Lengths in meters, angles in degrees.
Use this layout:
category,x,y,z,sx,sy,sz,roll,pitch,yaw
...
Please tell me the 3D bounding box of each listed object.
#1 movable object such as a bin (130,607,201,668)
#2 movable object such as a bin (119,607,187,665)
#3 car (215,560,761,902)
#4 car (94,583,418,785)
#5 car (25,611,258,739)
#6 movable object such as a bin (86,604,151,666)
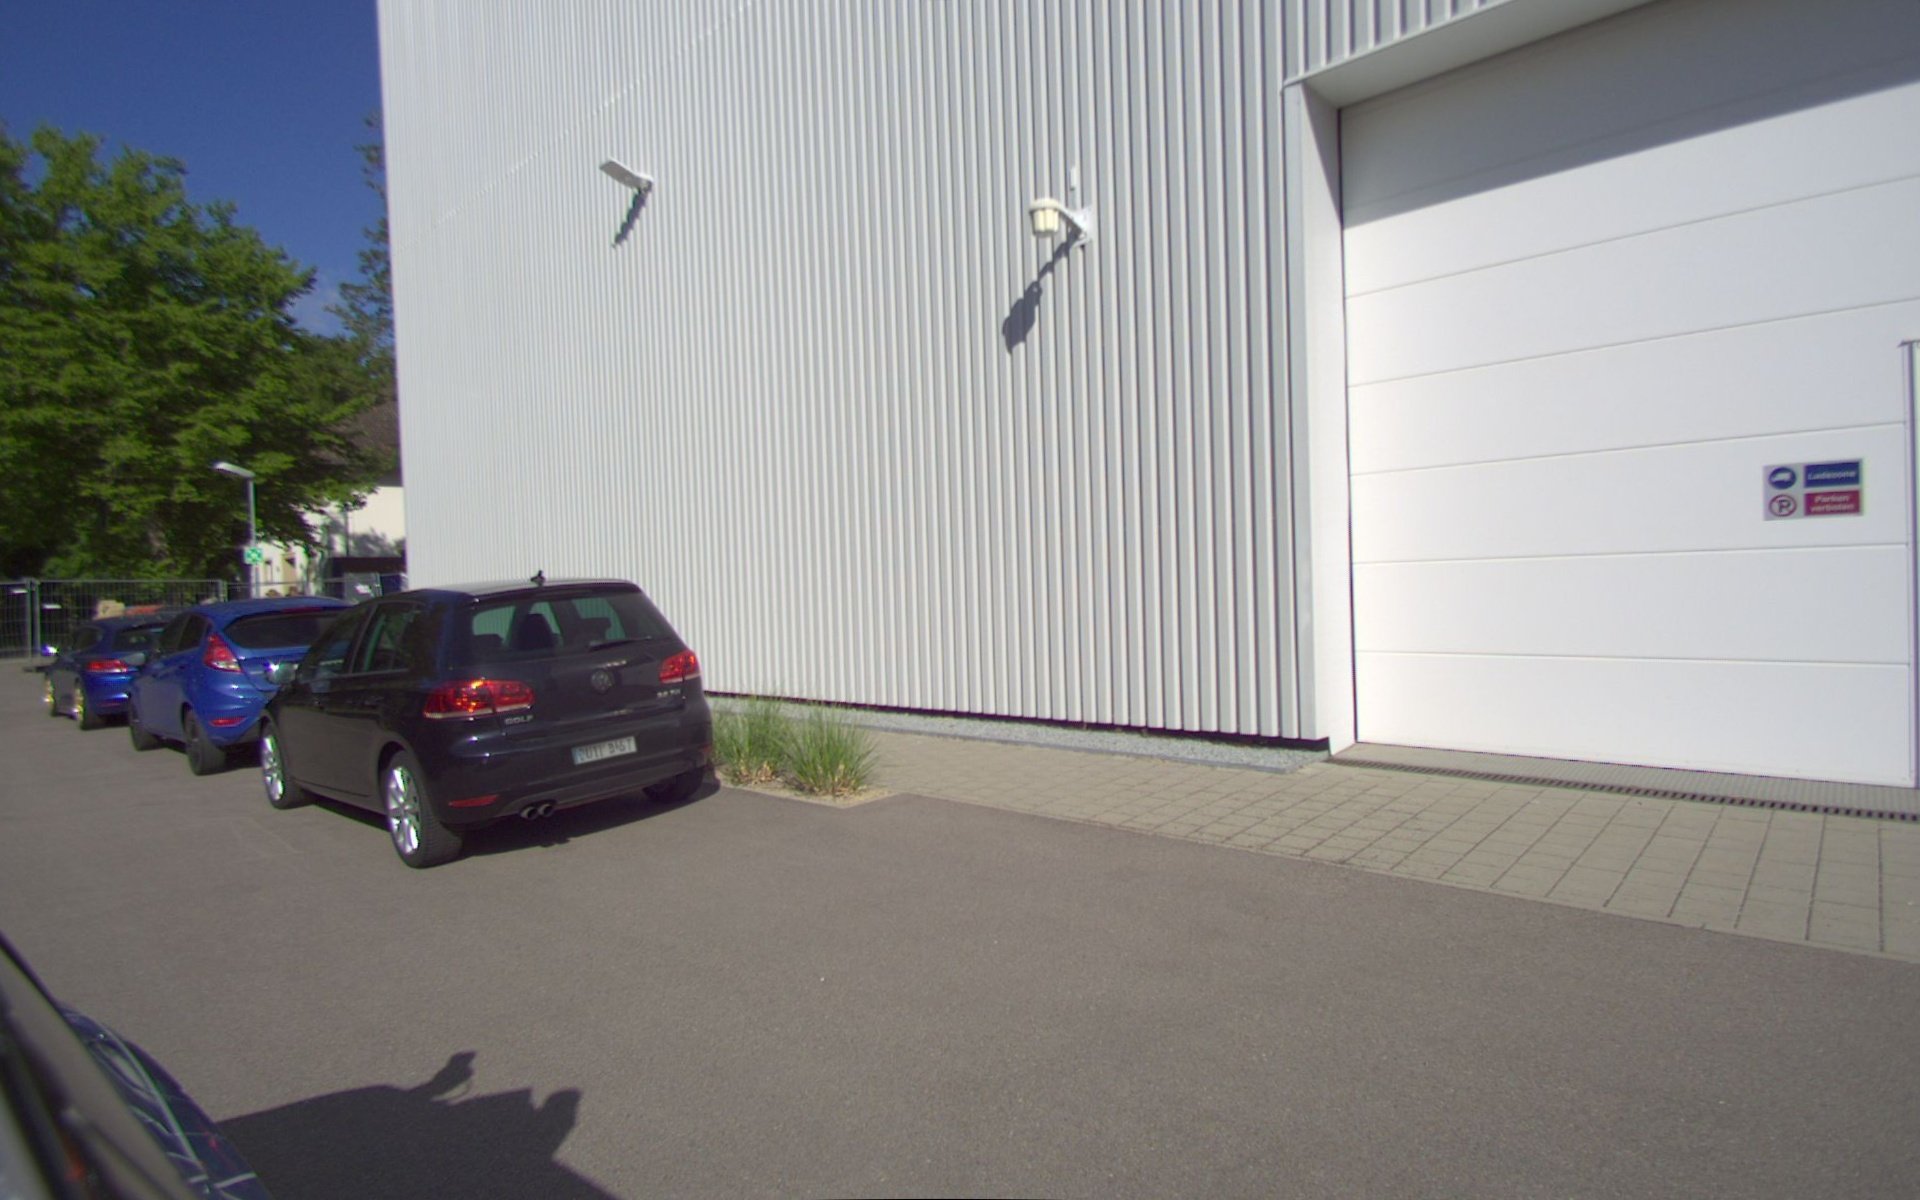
category,x,y,z,sx,sy,sz,roll,pitch,yaw
movable object such as a bin,-20.636,0.954,26.293,1.228,1.443,1.080,-1,3,37
movable object such as a bin,-21.648,0.945,27.162,1.228,1.450,1.080,-1,3,37
car,-3.371,0.624,6.763,4.294,1.511,1.736,-1,3,43
car,-7.092,0.701,10.030,4.093,1.511,1.614,-2,4,41
car,-11.124,0.907,13.663,4.052,1.370,1.756,-2,2,42
movable object such as a bin,-23.364,0.937,28.089,1.229,1.609,1.080,1,3,37
